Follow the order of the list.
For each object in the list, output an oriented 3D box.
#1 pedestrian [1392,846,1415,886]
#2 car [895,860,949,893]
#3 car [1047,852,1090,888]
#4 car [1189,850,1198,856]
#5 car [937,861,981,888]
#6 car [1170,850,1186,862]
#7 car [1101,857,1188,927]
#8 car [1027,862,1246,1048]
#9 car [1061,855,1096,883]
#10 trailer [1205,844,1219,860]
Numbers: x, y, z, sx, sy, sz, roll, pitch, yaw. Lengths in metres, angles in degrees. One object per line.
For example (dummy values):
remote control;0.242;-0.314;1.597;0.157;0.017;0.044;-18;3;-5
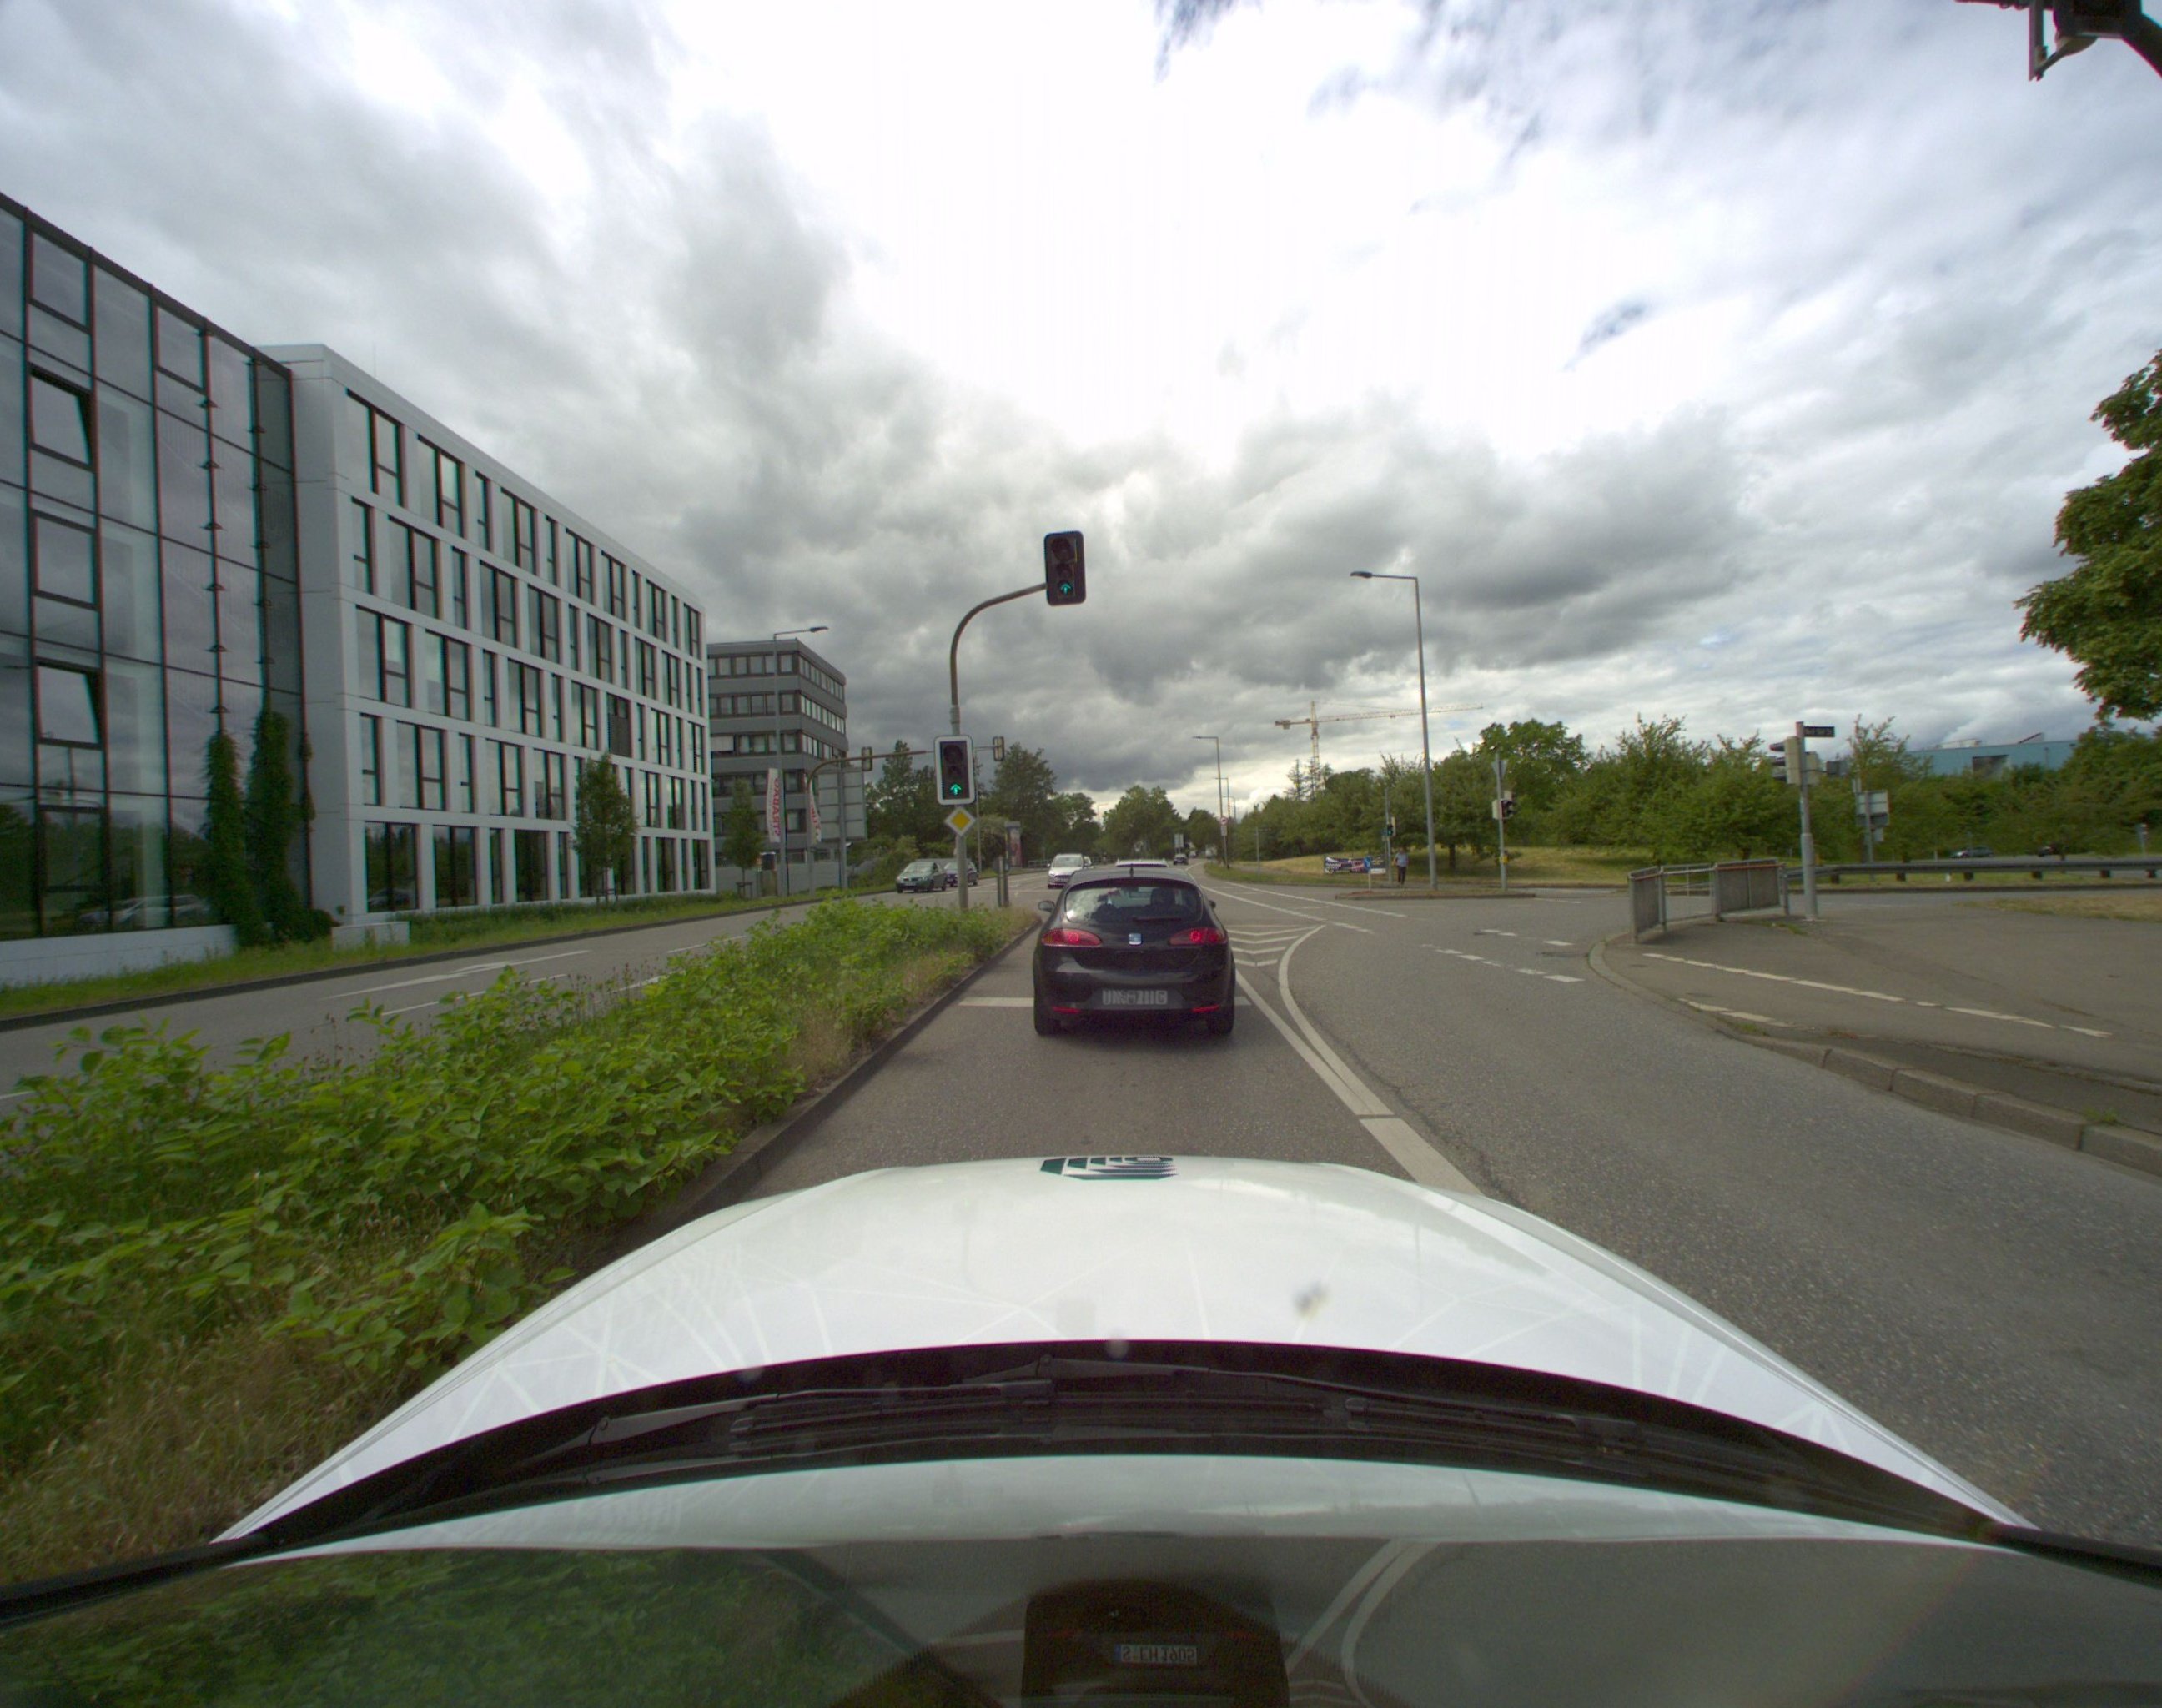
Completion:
pedestrian;14.897;0.546;37.608;0.714;1.793;1.045;-1;-1;5
car;-7.568;1.035;39.039;1.598;1.432;3.756;-1;0;4
car;-0.576;0.761;41.688;1.812;1.686;4.649;-1;0;3
car;27.583;-0.237;199.787;1.702;1.581;3.756;-1;-1;14
car;-6.830;1.126;45.879;1.546;1.419;3.901;-1;0;5
car;12.794;0.263;107.705;1.983;1.565;4.480;-2;0;7
car;1.438;0.824;19.078;1.827;1.467;3.754;-1;-1;3
car;0.493;0.813;8.140;1.705;1.417;3.460;-1;0;2
car;-0.100;0.850;47.644;1.652;1.518;4.091;-1;0;6
trailer;25.940;-0.412;161.099;2.475;3.073;5.603;-1;-1;11
